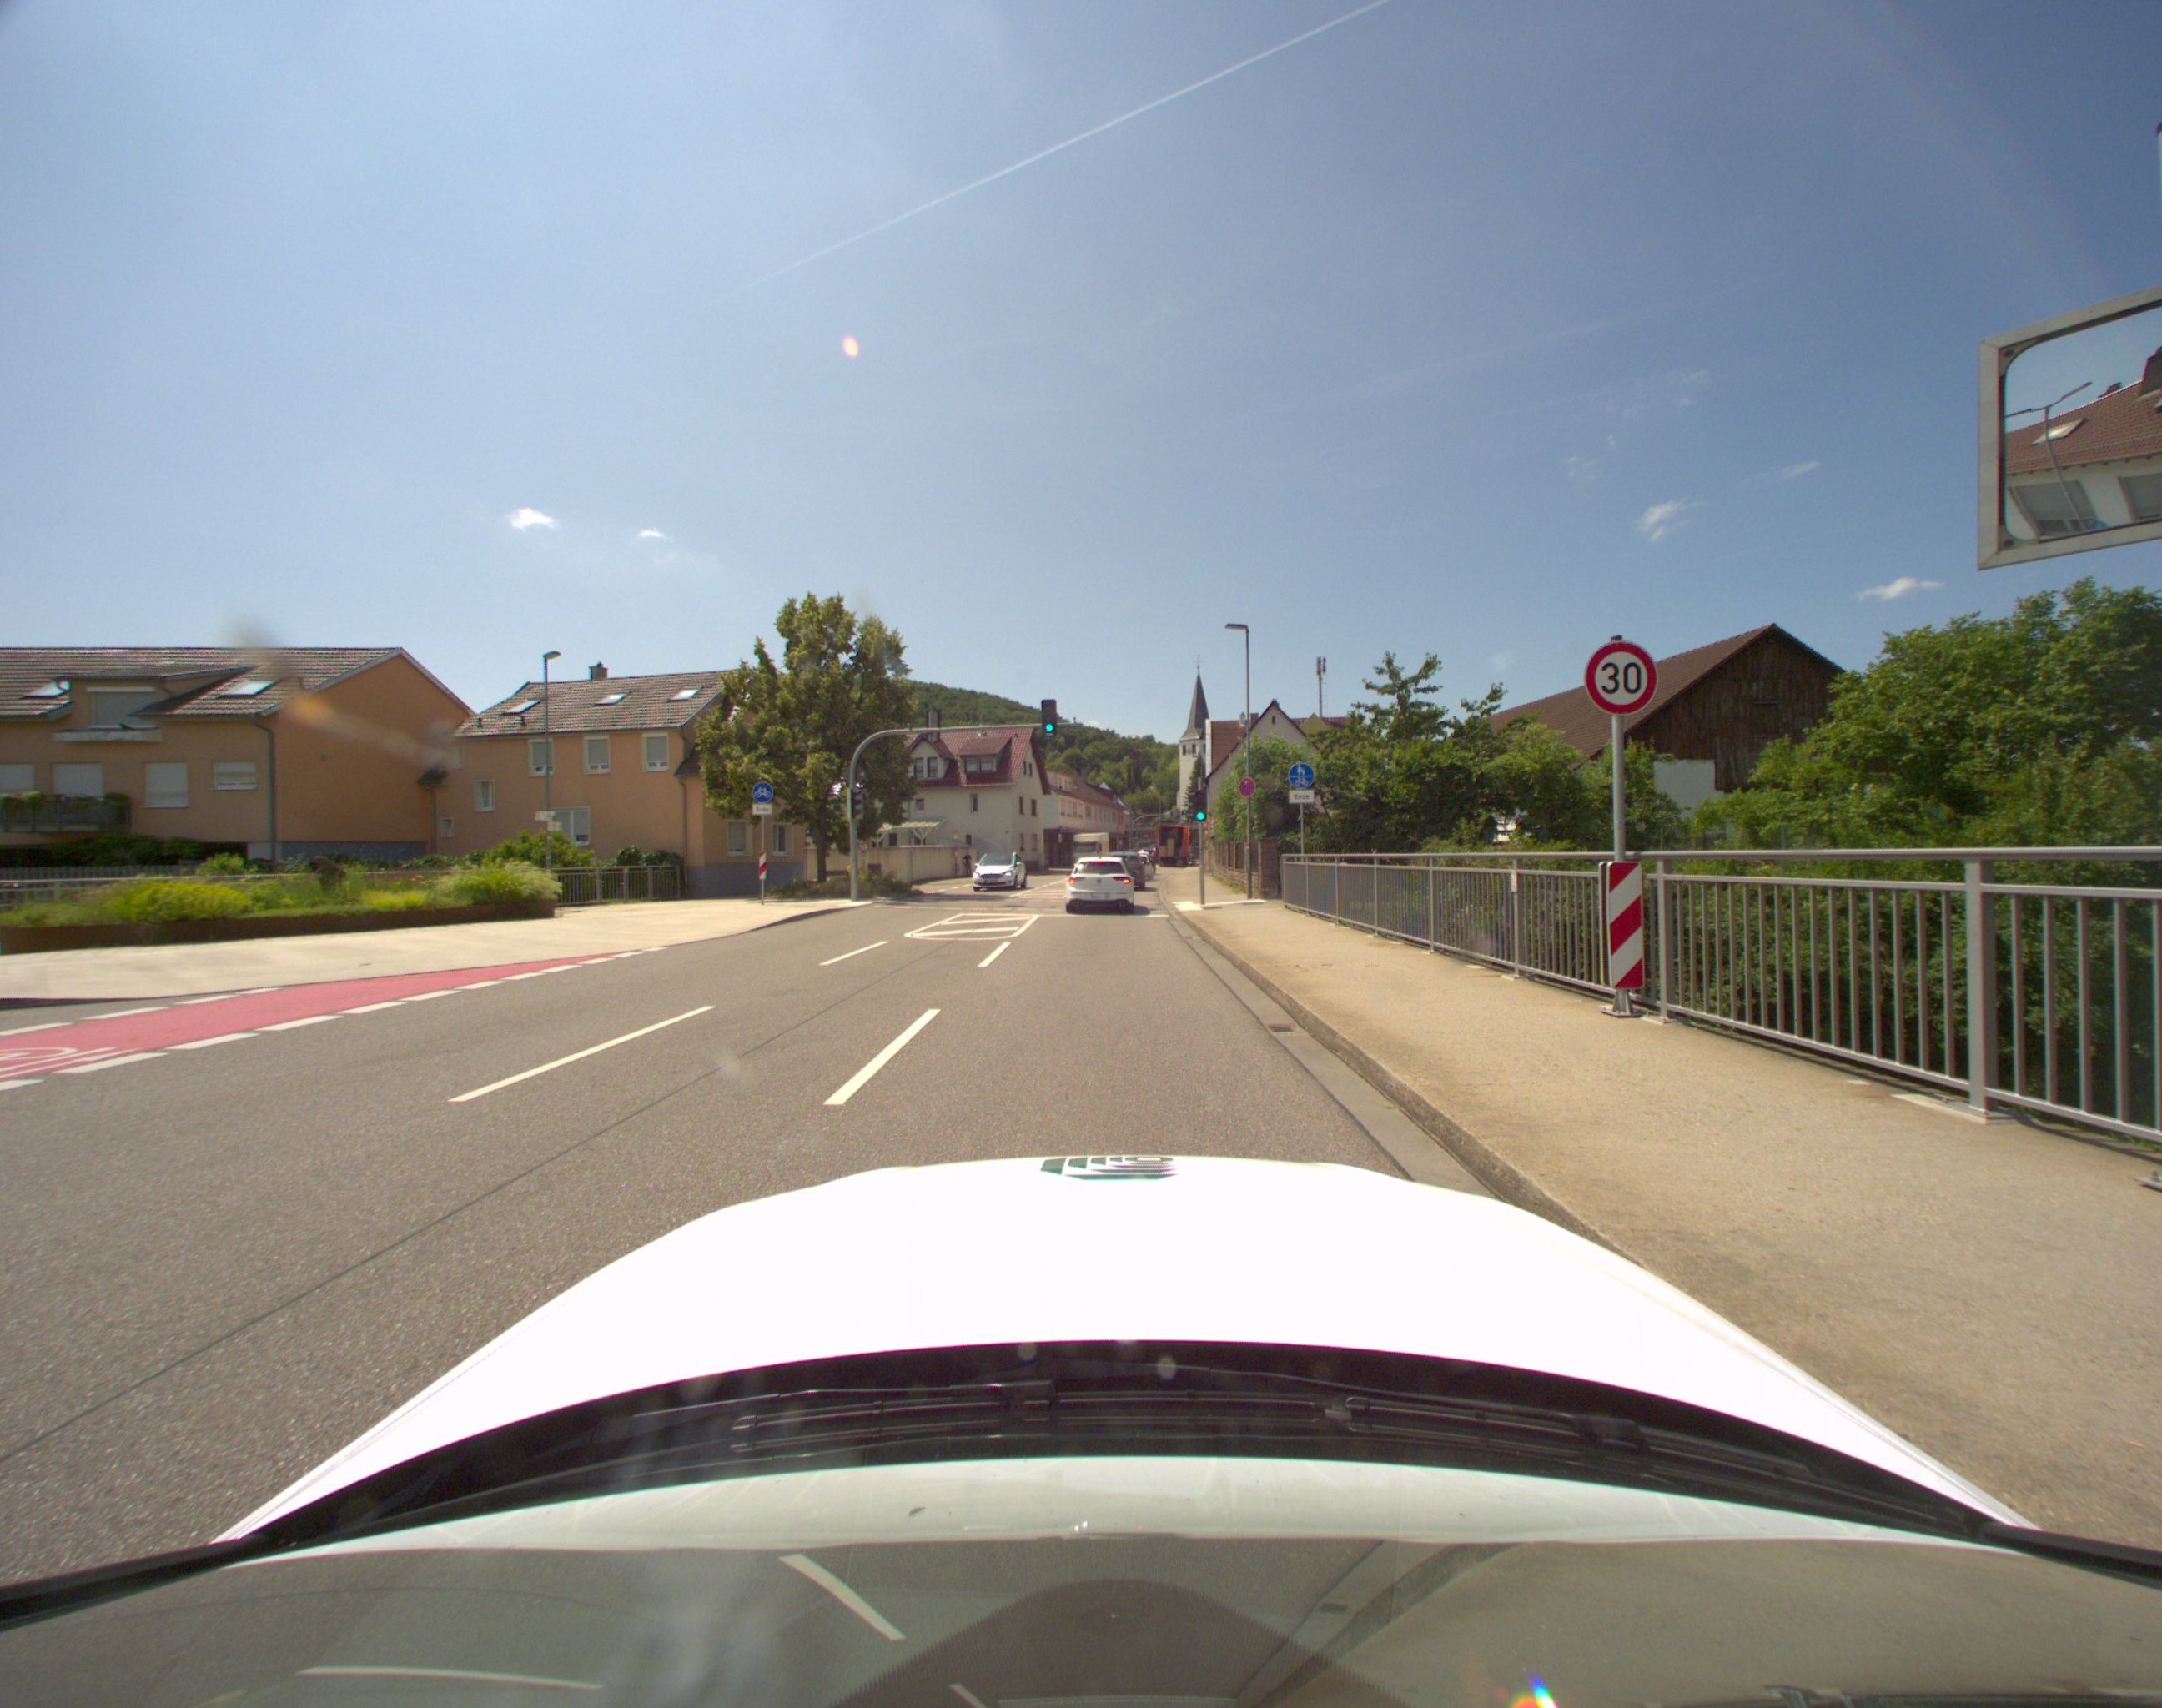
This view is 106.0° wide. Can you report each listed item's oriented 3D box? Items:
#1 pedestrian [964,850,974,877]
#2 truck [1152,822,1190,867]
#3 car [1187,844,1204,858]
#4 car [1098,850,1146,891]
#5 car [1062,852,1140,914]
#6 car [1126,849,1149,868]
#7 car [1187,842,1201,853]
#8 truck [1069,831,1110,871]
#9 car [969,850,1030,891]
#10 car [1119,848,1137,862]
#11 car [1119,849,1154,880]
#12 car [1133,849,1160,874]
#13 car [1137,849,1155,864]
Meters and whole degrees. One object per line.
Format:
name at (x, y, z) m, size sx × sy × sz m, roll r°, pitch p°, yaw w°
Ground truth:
pedestrian at (-7.271, 0.602, 52.881) m, size 0.430 × 1.764 × 0.560 m, roll -1°, pitch 0°, yaw 24°
truck at (9.160, -0.874, 81.604) m, size 3.348 × 4.170 × 9.540 m, roll -2°, pitch -1°, yaw 8°
car at (13.520, -0.352, 96.386) m, size 1.806 × 1.519 × 4.006 m, roll -2°, pitch -1°, yaw 6°
car at (1.821, 0.678, 35.105) m, size 1.806 × 1.629 × 4.006 m, roll -2°, pitch -1°, yaw 6°
car at (0.629, 0.732, 22.076) m, size 1.806 × 1.519 × 4.006 m, roll 0°, pitch 0°, yaw 6°
car at (4.973, 0.422, 70.747) m, size 1.806 × 1.519 × 4.006 m, roll -2°, pitch -1°, yaw 6°
car at (16.700, -0.892, 120.333) m, size 1.806 × 1.519 × 4.006 m, roll -2°, pitch -1°, yaw 6°
truck at (0.830, -0.234, 71.121) m, size 2.486 × 3.235 × 6.057 m, roll -2°, pitch -1°, yaw 10°
car at (-3.426, 0.671, 34.903) m, size 1.806 × 1.649 × 4.006 m, roll 0°, pitch 0°, yaw 6°
car at (5.668, 0.120, 97.930) m, size 1.728 × 1.651 × 3.679 m, roll -1°, pitch 0°, yaw 10°
car at (3.188, 0.608, 46.358) m, size 1.806 × 1.629 × 4.006 m, roll -2°, pitch -1°, yaw 6°
car at (4.699, 0.522, 57.880) m, size 1.806 × 1.629 × 4.006 m, roll -2°, pitch -1°, yaw 6°
car at (6.909, 0.250, 86.245) m, size 1.806 × 1.519 × 4.006 m, roll -2°, pitch -1°, yaw 6°
